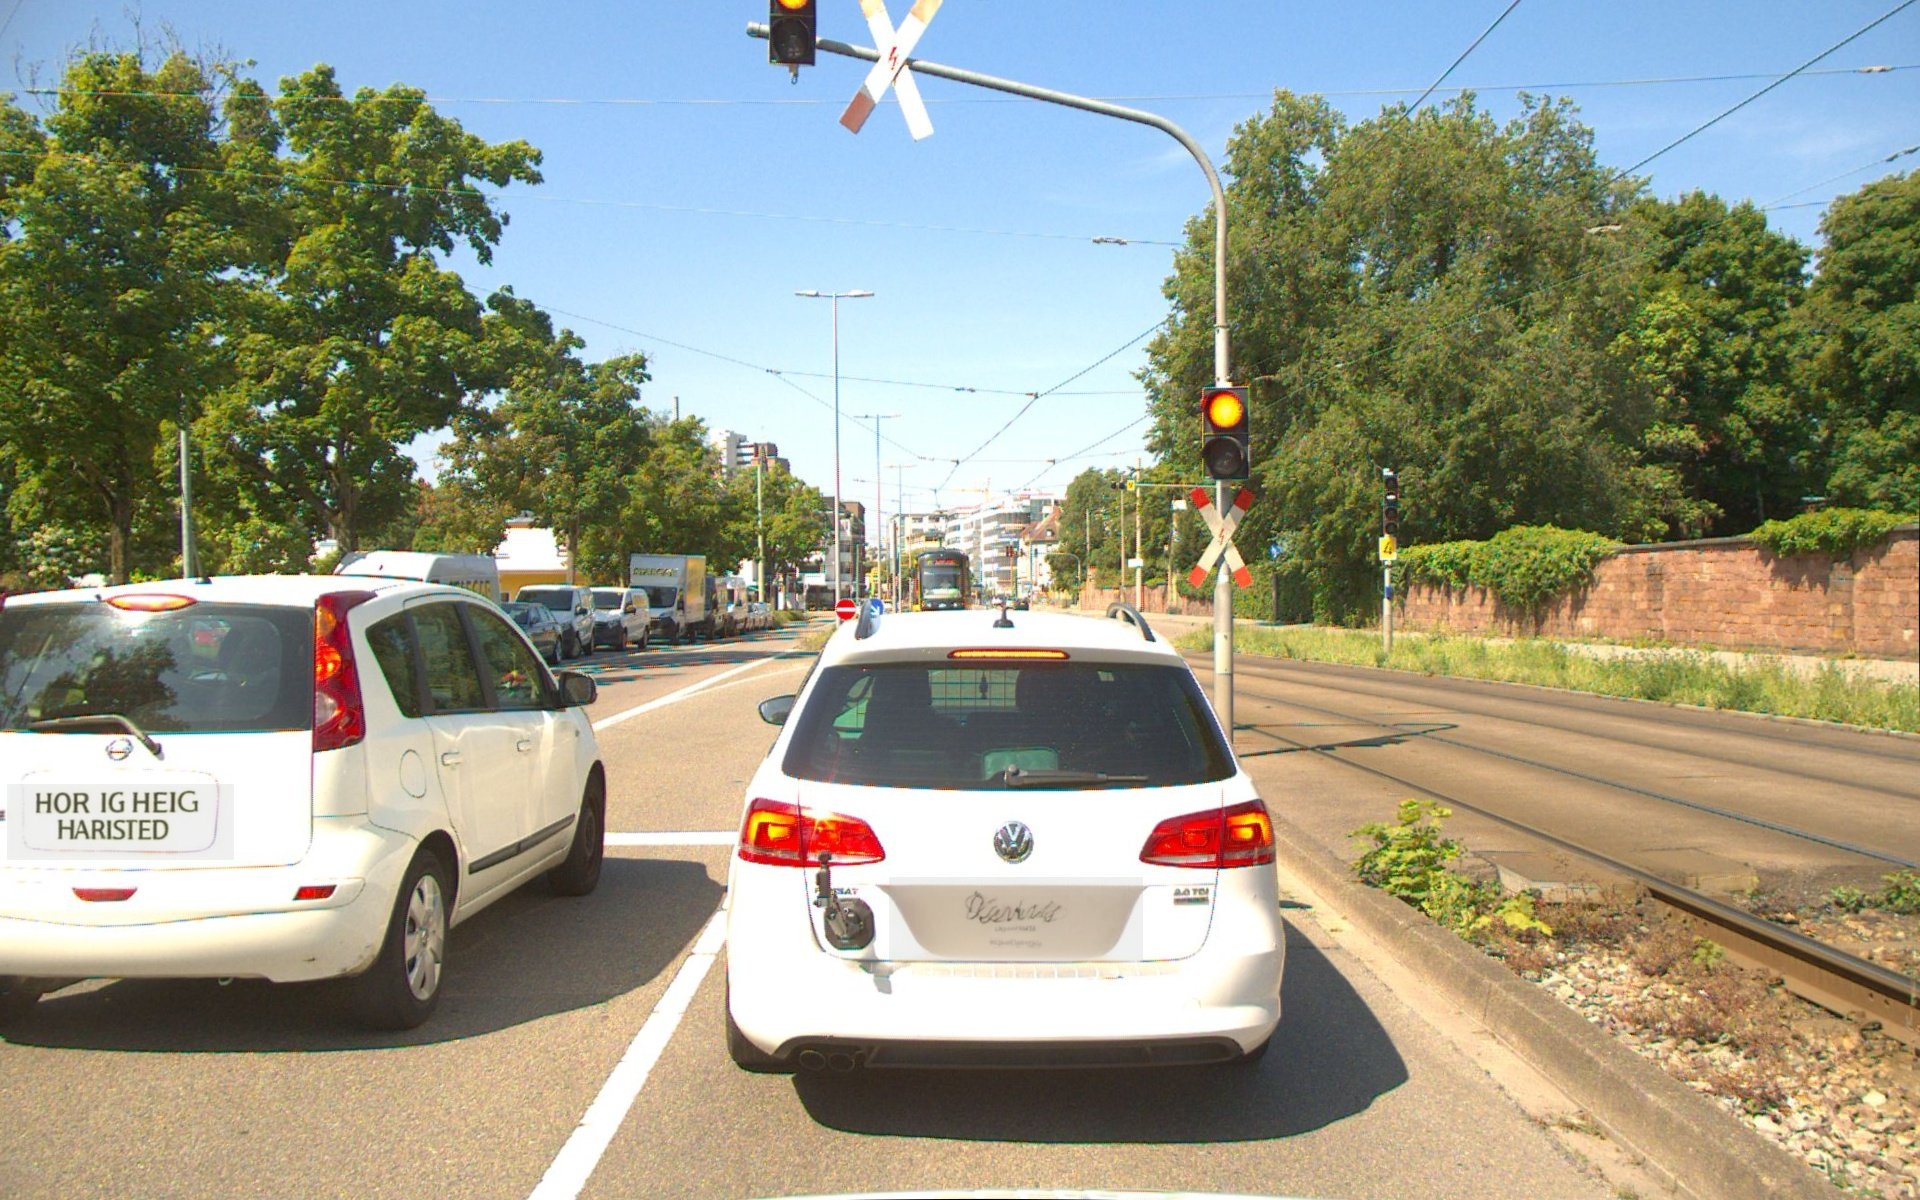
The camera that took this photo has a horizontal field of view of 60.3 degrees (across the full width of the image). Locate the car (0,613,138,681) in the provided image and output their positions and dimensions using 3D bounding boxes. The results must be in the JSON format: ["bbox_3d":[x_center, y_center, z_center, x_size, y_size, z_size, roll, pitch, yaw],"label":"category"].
[{"bbox_3d":[-21.618,1.117,38.633,3.909,1.440,1.728,-2,0,-5],"label":"car"}]

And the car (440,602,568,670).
[{"bbox_3d":[-10.560,0.802,38.603,1.826,1.440,4.278,1,0,-1],"label":"car"}]

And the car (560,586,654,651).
[{"bbox_3d":[-10.966,0.530,51.723,1.826,1.900,5.412,1,0,-1],"label":"car"}]

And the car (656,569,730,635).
[{"bbox_3d":[-10.936,0.068,68.146,2.079,2.560,5.733,1,0,0],"label":"car"}]

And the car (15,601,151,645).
[{"bbox_3d":[-37.812,0.986,71.375,4.698,1.819,2.062,1,0,-5],"label":"car"}]

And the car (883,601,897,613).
[{"bbox_3d":[-8.705,0.855,206.904,1.671,1.499,4.587,-1,0,-2],"label":"car"}]

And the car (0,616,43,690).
[{"bbox_3d":[-20.733,1.124,32.923,3.909,1.440,1.728,-2,0,-5],"label":"car"}]

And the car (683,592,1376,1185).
[{"bbox_3d":[0.152,0.717,6.192,1.726,1.455,3.999,-1,0,-1],"label":"car"}]

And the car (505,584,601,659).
[{"bbox_3d":[-11.018,0.532,45.134,1.827,1.900,5.068,1,0,-6],"label":"car"}]

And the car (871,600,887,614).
[{"bbox_3d":[-8.904,0.725,182.008,1.671,1.499,4.587,-1,0,-2],"label":"car"}]

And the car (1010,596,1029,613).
[{"bbox_3d":[6.789,0.476,188.876,1.826,1.900,5.060,1,0,-2],"label":"car"}]

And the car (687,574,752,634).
[{"bbox_3d":[-10.936,0.158,75.582,2.079,2.560,5.733,1,0,0],"label":"car"}]

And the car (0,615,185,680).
[{"bbox_3d":[-21.702,1.168,41.222,3.909,1.440,1.728,-2,0,-5],"label":"car"}]

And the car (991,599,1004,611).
[{"bbox_3d":[5.877,0.766,259.228,1.826,1.900,5.060,1,0,-2],"label":"car"}]

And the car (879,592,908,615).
[{"bbox_3d":[-4.509,0.231,112.544,1.670,1.499,4.589,-1,0,0],"label":"car"}]

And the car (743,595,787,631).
[{"bbox_3d":[-10.760,0.693,91.506,1.826,1.900,5.412,1,0,-1],"label":"car"}]

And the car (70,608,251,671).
[{"bbox_3d":[-21.110,1.027,43.782,3.909,1.440,1.728,-2,0,-5],"label":"car"}]

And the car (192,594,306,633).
[{"bbox_3d":[-34.897,0.682,81.298,4.698,1.819,2.062,1,0,-5],"label":"car"}]

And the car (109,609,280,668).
[{"bbox_3d":[-21.289,1.059,46.110,3.909,1.440,1.728,-2,0,-5],"label":"car"}]

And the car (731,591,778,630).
[{"bbox_3d":[-10.489,0.504,84.696,1.826,1.900,5.412,1,0,-1],"label":"car"}]

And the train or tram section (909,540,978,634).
[{"bbox_3d":[-0.689,-0.601,76.386,2.812,3.923,12.391,-1,0,0],"label":"train or tram section"}]

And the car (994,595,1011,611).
[{"bbox_3d":[5.230,0.409,203.485,1.826,1.900,5.060,1,0,-2],"label":"car"}]

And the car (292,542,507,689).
[{"bbox_3d":[-10.744,0.262,32.247,2.079,2.560,5.817,1,0,1],"label":"car"}]

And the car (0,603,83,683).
[{"bbox_3d":[-21.077,0.964,35.116,3.909,1.638,1.728,-2,0,-5],"label":"car"}]

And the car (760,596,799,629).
[{"bbox_3d":[-10.707,0.714,98.423,1.826,1.900,5.412,1,0,-1],"label":"car"}]

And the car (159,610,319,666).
[{"bbox_3d":[-21.277,1.104,48.928,3.909,1.440,1.728,-2,0,-5],"label":"car"}]

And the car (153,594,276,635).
[{"bbox_3d":[-34.438,0.670,76.509,4.698,1.819,2.062,1,0,-5],"label":"car"}]

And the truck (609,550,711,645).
[{"bbox_3d":[-10.791,-0.107,60.149,2.371,3.205,6.996,1,0,0],"label":"truck"}]

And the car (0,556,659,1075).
[{"bbox_3d":[-2.566,0.643,7.300,1.628,1.575,4.546,0,0,0],"label":"car"}]
